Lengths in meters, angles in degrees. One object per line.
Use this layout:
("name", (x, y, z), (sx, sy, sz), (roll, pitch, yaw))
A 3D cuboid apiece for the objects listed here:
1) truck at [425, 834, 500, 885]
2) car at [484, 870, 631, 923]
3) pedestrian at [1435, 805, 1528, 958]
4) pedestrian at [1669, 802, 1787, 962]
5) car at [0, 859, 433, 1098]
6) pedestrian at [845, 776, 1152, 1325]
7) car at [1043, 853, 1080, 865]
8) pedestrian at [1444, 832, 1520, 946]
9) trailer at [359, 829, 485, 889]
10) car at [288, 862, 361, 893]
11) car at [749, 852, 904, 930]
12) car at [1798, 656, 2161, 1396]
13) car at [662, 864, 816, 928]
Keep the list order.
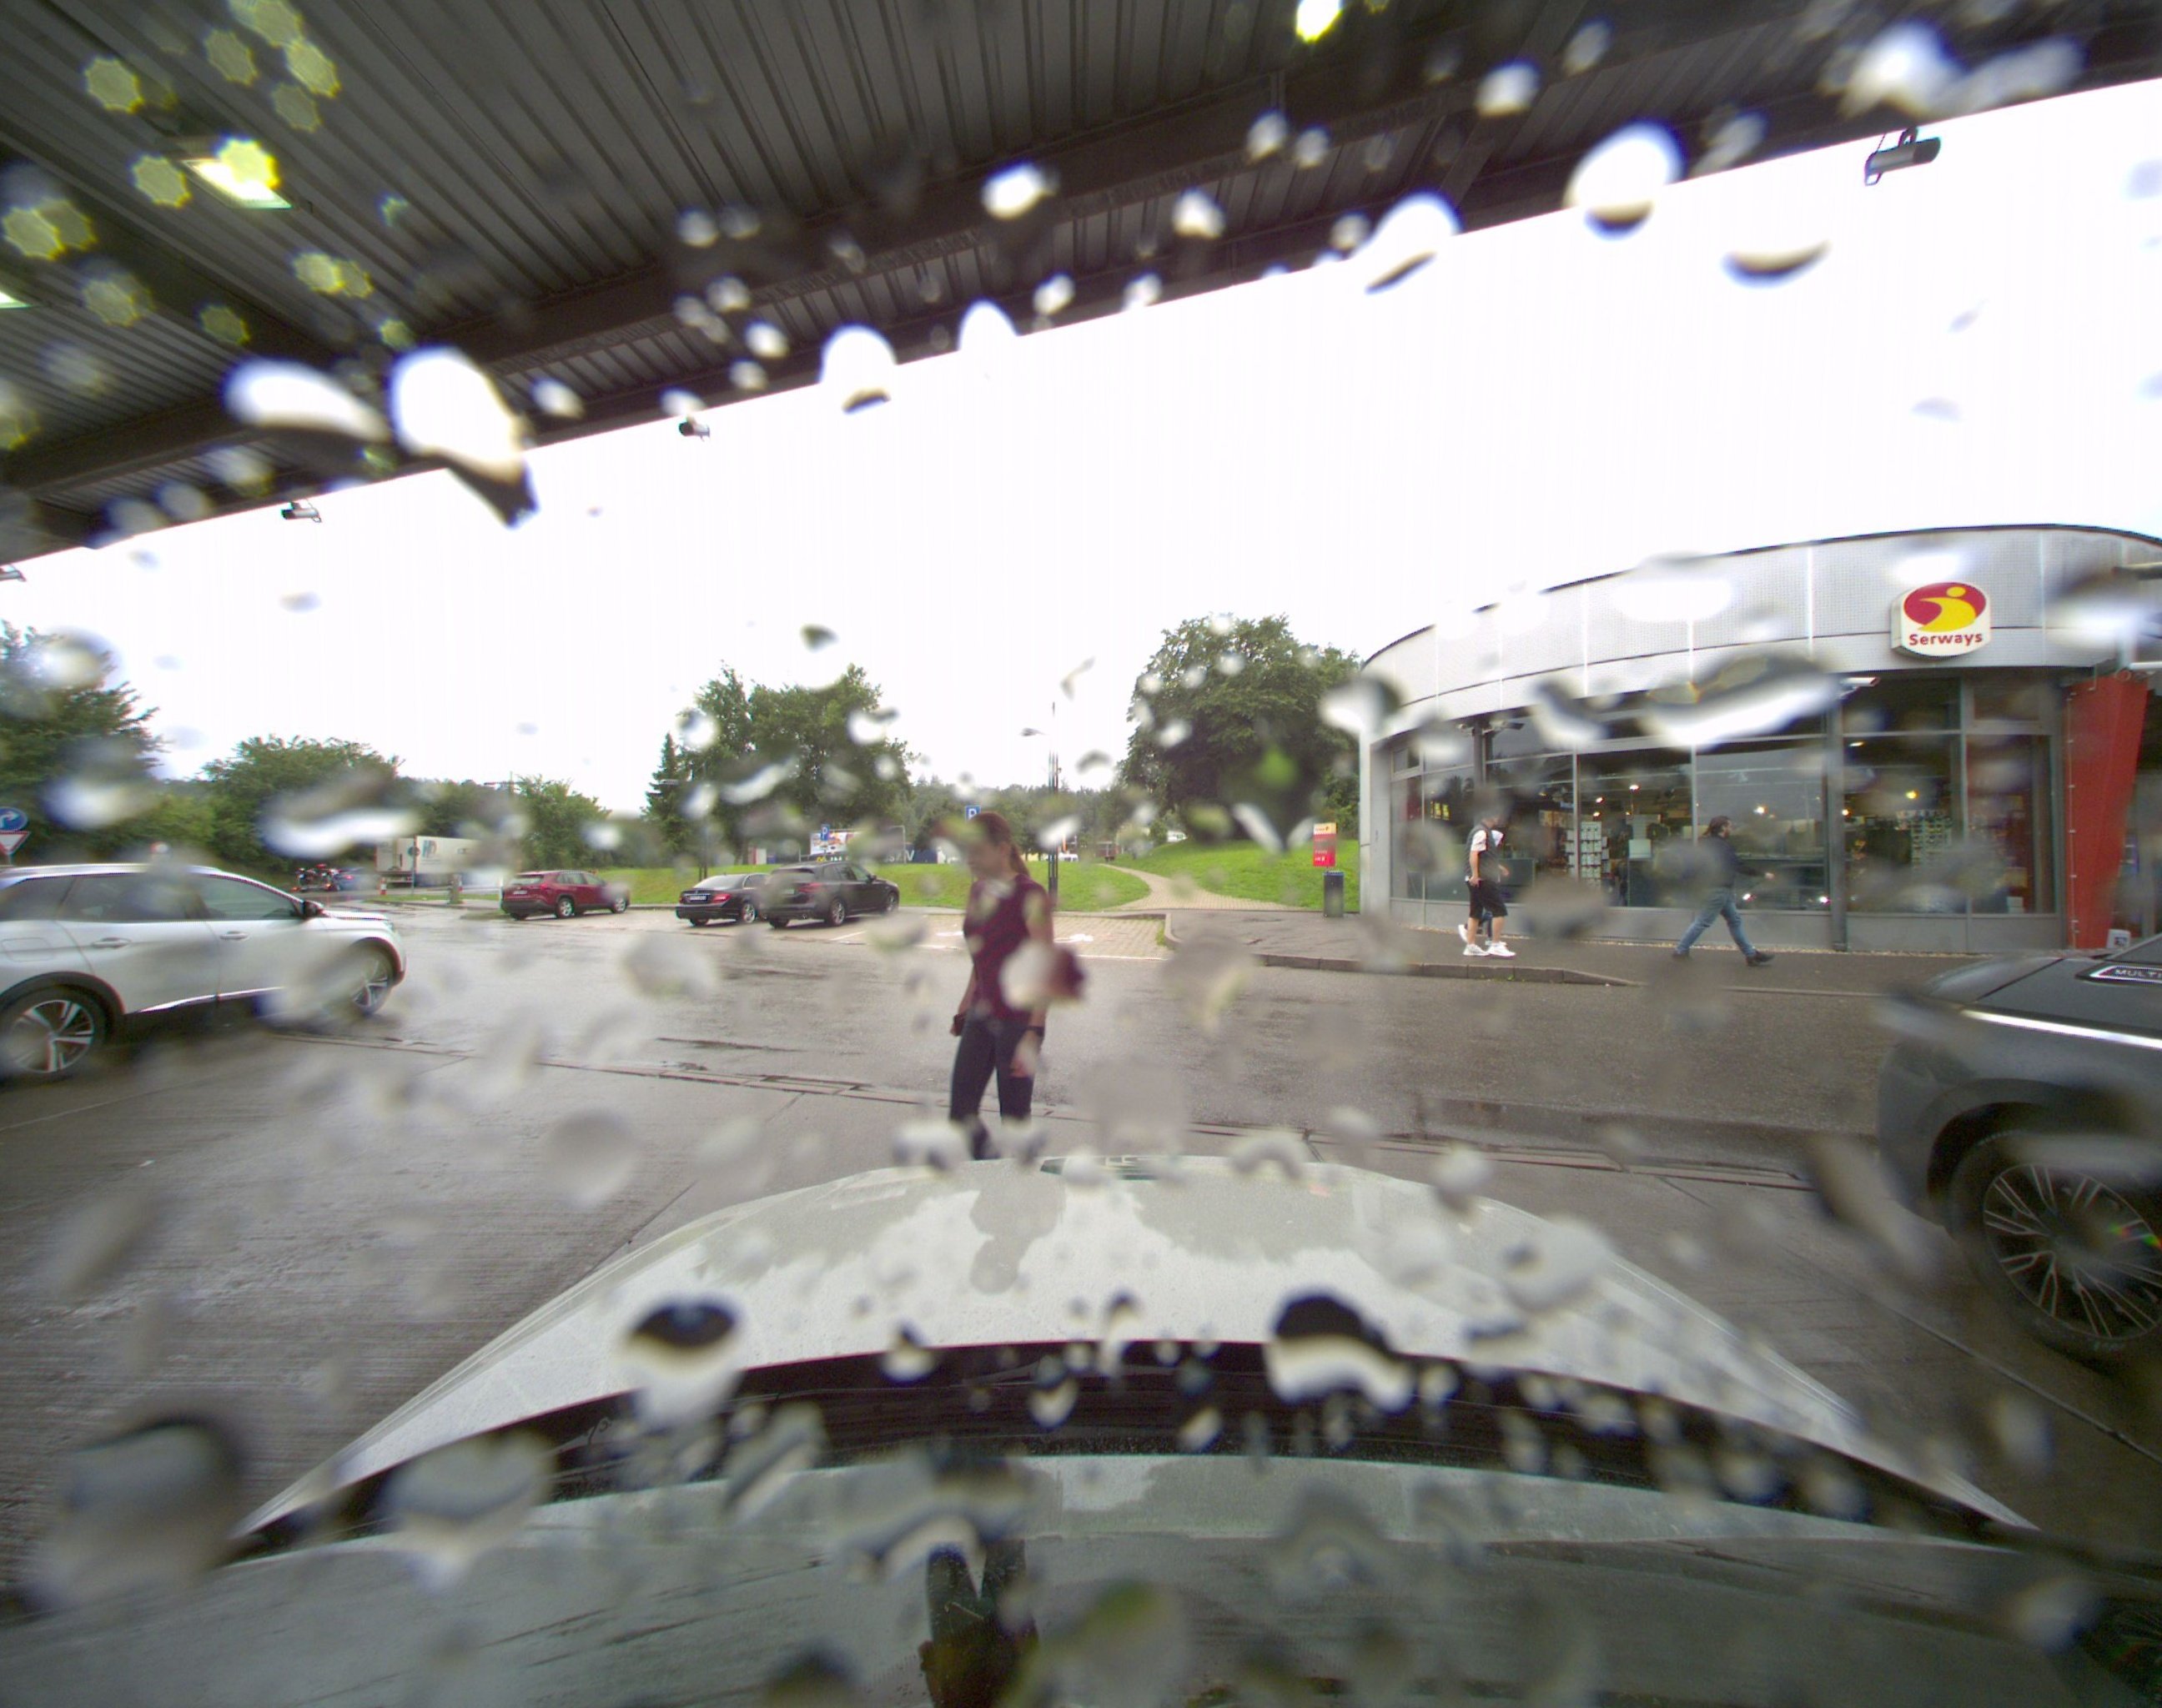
("truck", (-57.108, 0.517, 75.429), (3.467, 4.557, 6.694), (0, -1, -18))
("car", (-18.158, 1.423, 28.530), (1.873, 1.596, 4.364), (-2, 0, 8))
("pedestrian", (5.132, 0.338, 10.420), (0.963, 1.848, 0.778), (-2, 0, 30))
("pedestrian", (7.943, 0.332, 10.053), (0.989, 1.864, 0.804), (-2, 0, 30))
("car", (-8.123, 0.844, 6.645), (1.810, 1.565, 4.999), (0, 0, -2))
("pedestrian", (-0.295, 0.626, 3.146), (0.786, 1.734, 0.845), (-2, -1, 33))
("car", (-3.191, 0.809, 134.057), (5.376, 2.013, 2.468), (-1, 0, 21))
("pedestrian", (5.722, 0.485, 11.607), (0.880, 1.550, 0.665), (-2, 0, 31))
("trailer", (-54.886, 0.442, 68.488), (3.466, 4.557, 13.827), (0, -1, -18))
("car", (-49.223, 1.487, 53.096), (1.934, 1.838, 4.361), (-1, 0, -20))
("car", (-6.616, 0.892, 21.749), (1.871, 1.828, 4.429), (-2, 0, 13))
("car", (3.716, 0.447, 1.238), (1.809, 1.948, 4.002), (-1, 0, 2))
("car", (-9.617, 1.142, 23.306), (1.871, 1.565, 4.200), (-2, 0, 13))
